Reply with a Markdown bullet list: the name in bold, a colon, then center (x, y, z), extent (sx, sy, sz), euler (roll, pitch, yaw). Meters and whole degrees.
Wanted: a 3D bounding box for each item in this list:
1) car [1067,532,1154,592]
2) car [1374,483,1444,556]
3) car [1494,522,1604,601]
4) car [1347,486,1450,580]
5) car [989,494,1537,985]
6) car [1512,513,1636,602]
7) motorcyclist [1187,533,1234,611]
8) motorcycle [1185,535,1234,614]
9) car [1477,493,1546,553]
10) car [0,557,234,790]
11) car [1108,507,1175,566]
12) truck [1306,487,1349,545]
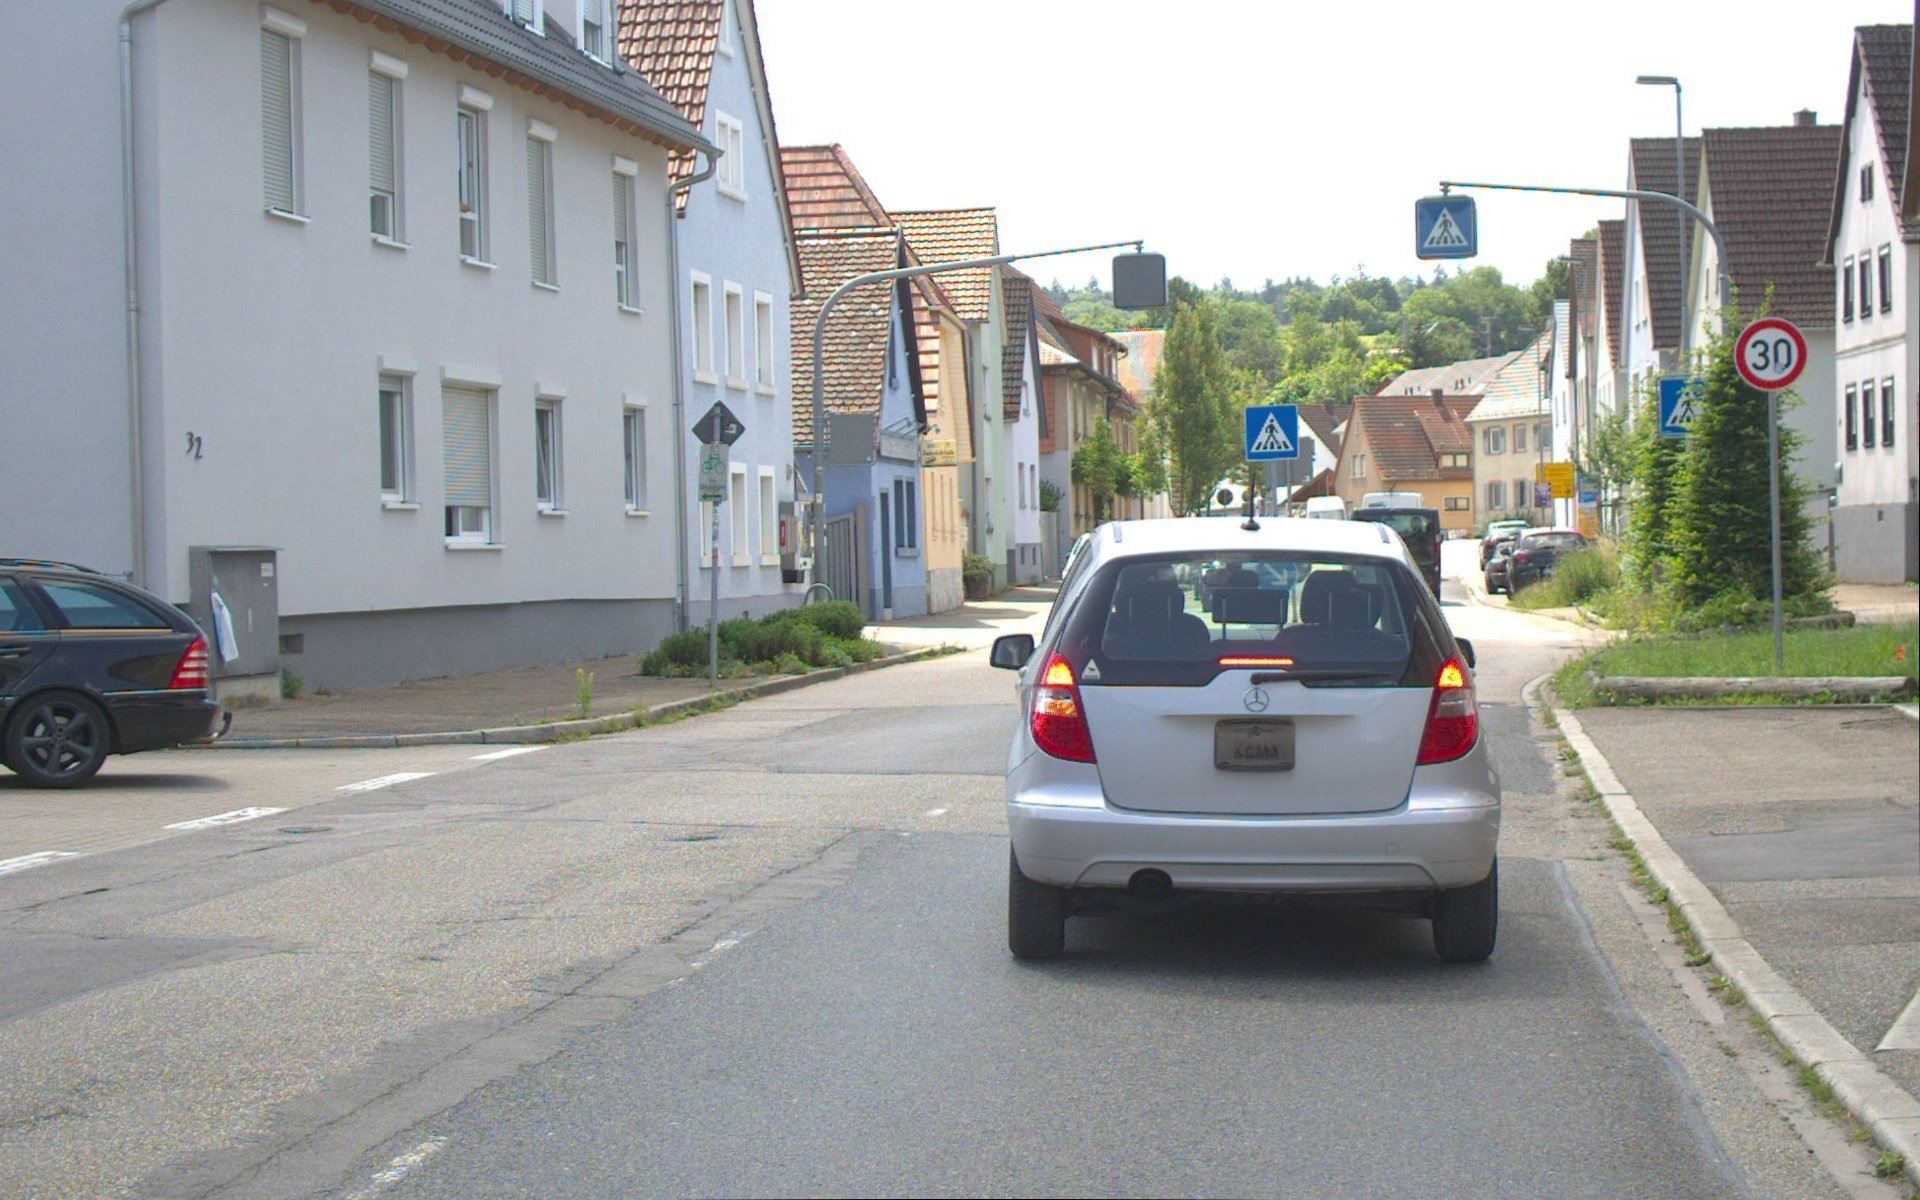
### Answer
- **car**: center (3.528, -0.884, 81.197), extent (1.993, 1.317, 3.708), euler (0, -1, 2)
- **car**: center (13.111, -2.327, 100.582), extent (1.994, 2.007, 3.999), euler (0, -1, 7)
- **car**: center (11.825, -0.758, 69.258), extent (1.994, 1.503, 3.999), euler (0, -1, 7)
- **car**: center (8.965, -1.348, 70.504), extent (1.994, 1.810, 3.999), euler (0, -1, 6)
- **car**: center (1.045, 0.453, 13.576), extent (1.810, 1.638, 3.729), euler (1, 1, 0)
- **car**: center (11.080, -0.741, 62.224), extent (1.994, 1.503, 3.999), euler (0, -1, 7)
- **motorcyclist**: center (5.065, -0.568, 69.505), extent (0.896, 1.549, 0.807), euler (0, 1, 7)
- **motorcycle**: center (5.059, -0.518, 69.554), extent (0.880, 1.555, 1.967), euler (0, 1, 7)
- **car**: center (18.013, -2.496, 112.453), extent (1.994, 1.810, 3.999), euler (0, -1, 6)
- **car**: center (-6.965, 0.451, 21.393), extent (4.620, 1.407, 1.814), euler (0, -1, -18)
- **car**: center (5.282, -1.816, 99.719), extent (1.667, 1.590, 3.999), euler (0, -1, 7)
- **truck**: center (17.571, -4.012, 164.495), extent (1.994, 2.528, 6.737), euler (0, -1, 6)
